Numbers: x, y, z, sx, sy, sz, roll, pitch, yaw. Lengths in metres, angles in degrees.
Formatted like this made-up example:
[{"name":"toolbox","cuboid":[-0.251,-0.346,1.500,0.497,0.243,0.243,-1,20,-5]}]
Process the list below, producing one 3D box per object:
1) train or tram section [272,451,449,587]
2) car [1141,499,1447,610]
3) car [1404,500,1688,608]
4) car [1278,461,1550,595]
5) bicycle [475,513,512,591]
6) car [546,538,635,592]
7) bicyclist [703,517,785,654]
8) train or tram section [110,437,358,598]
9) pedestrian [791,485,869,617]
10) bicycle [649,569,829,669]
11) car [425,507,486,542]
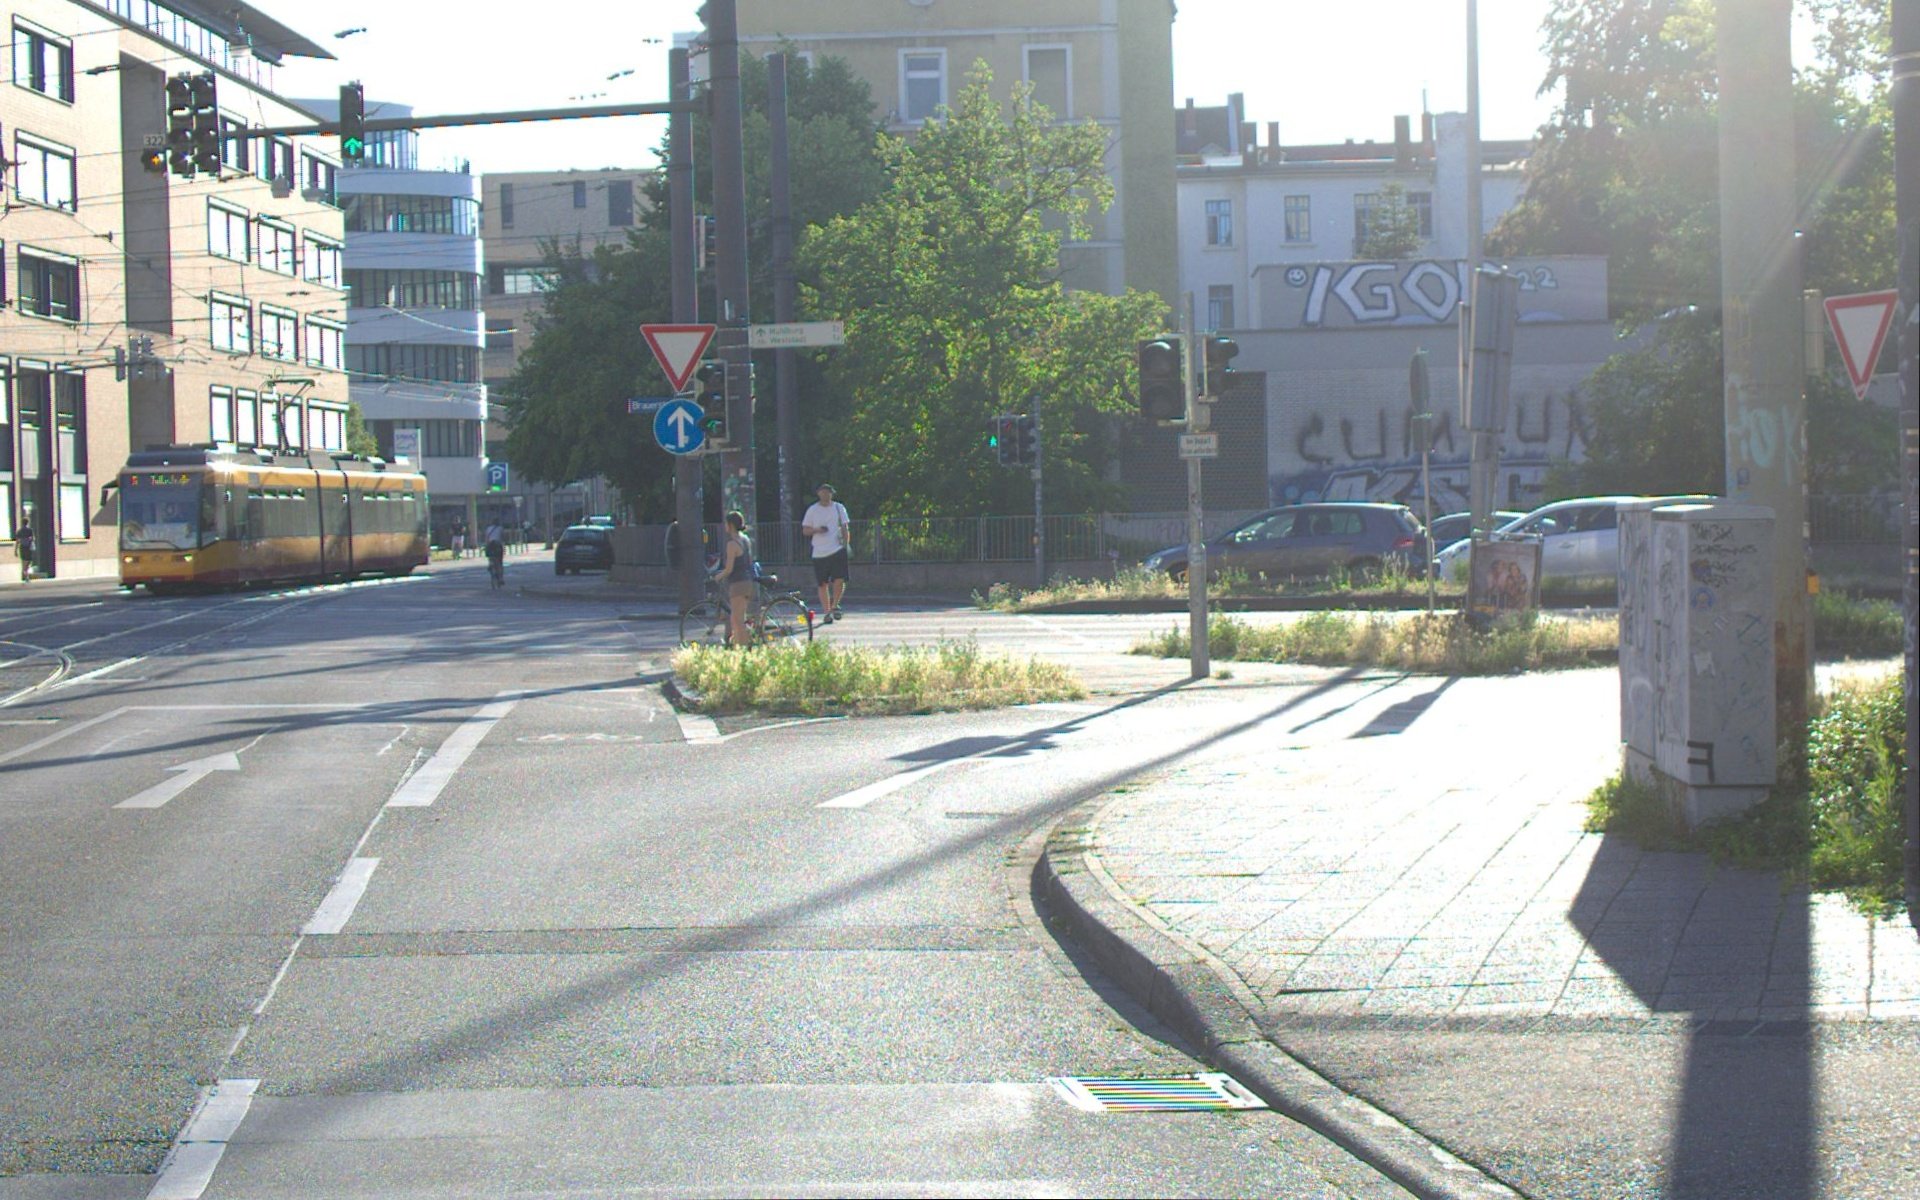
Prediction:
[{"name":"train or tram section","cuboid":[-16.891,-2.307,97.753,2.223,3.567,12.208,-1,1,3]},{"name":"car","cuboid":[4.733,-0.654,48.567,3.990,1.448,1.808,-1,1,17]},{"name":"car","cuboid":[8.742,-0.692,51.242,3.990,1.502,1.671,-1,1,16]},{"name":"car","cuboid":[7.270,-1.141,54.917,3.990,2.007,1.999,-1,1,17]},{"name":"bicycle","cuboid":[-10.925,-1.138,80.559,0.565,1.800,1.358,-1,1,3]},{"name":"car","cuboid":[-10.733,-1.036,100.096,1.993,1.459,4.000,-2,1,2]},{"name":"bicyclist","cuboid":[-2.273,-0.158,36.253,0.804,1.408,0.624,-2,1,-1]},{"name":"train or tram section","cuboid":[-17.580,-2.022,84.478,2.241,3.562,14.276,-2,1,3]},{"name":"pedestrian","cuboid":[-1.700,-0.639,44.969,0.926,1.686,0.777,-1,1,2]},{"name":"bicycle","cuboid":[-2.321,0.197,36.253,1.833,0.981,0.734,-2,1,-1]},{"name":"car","cuboid":[-21.185,-3.164,144.511,1.794,1.405,4.000,-2,1,2]}]
